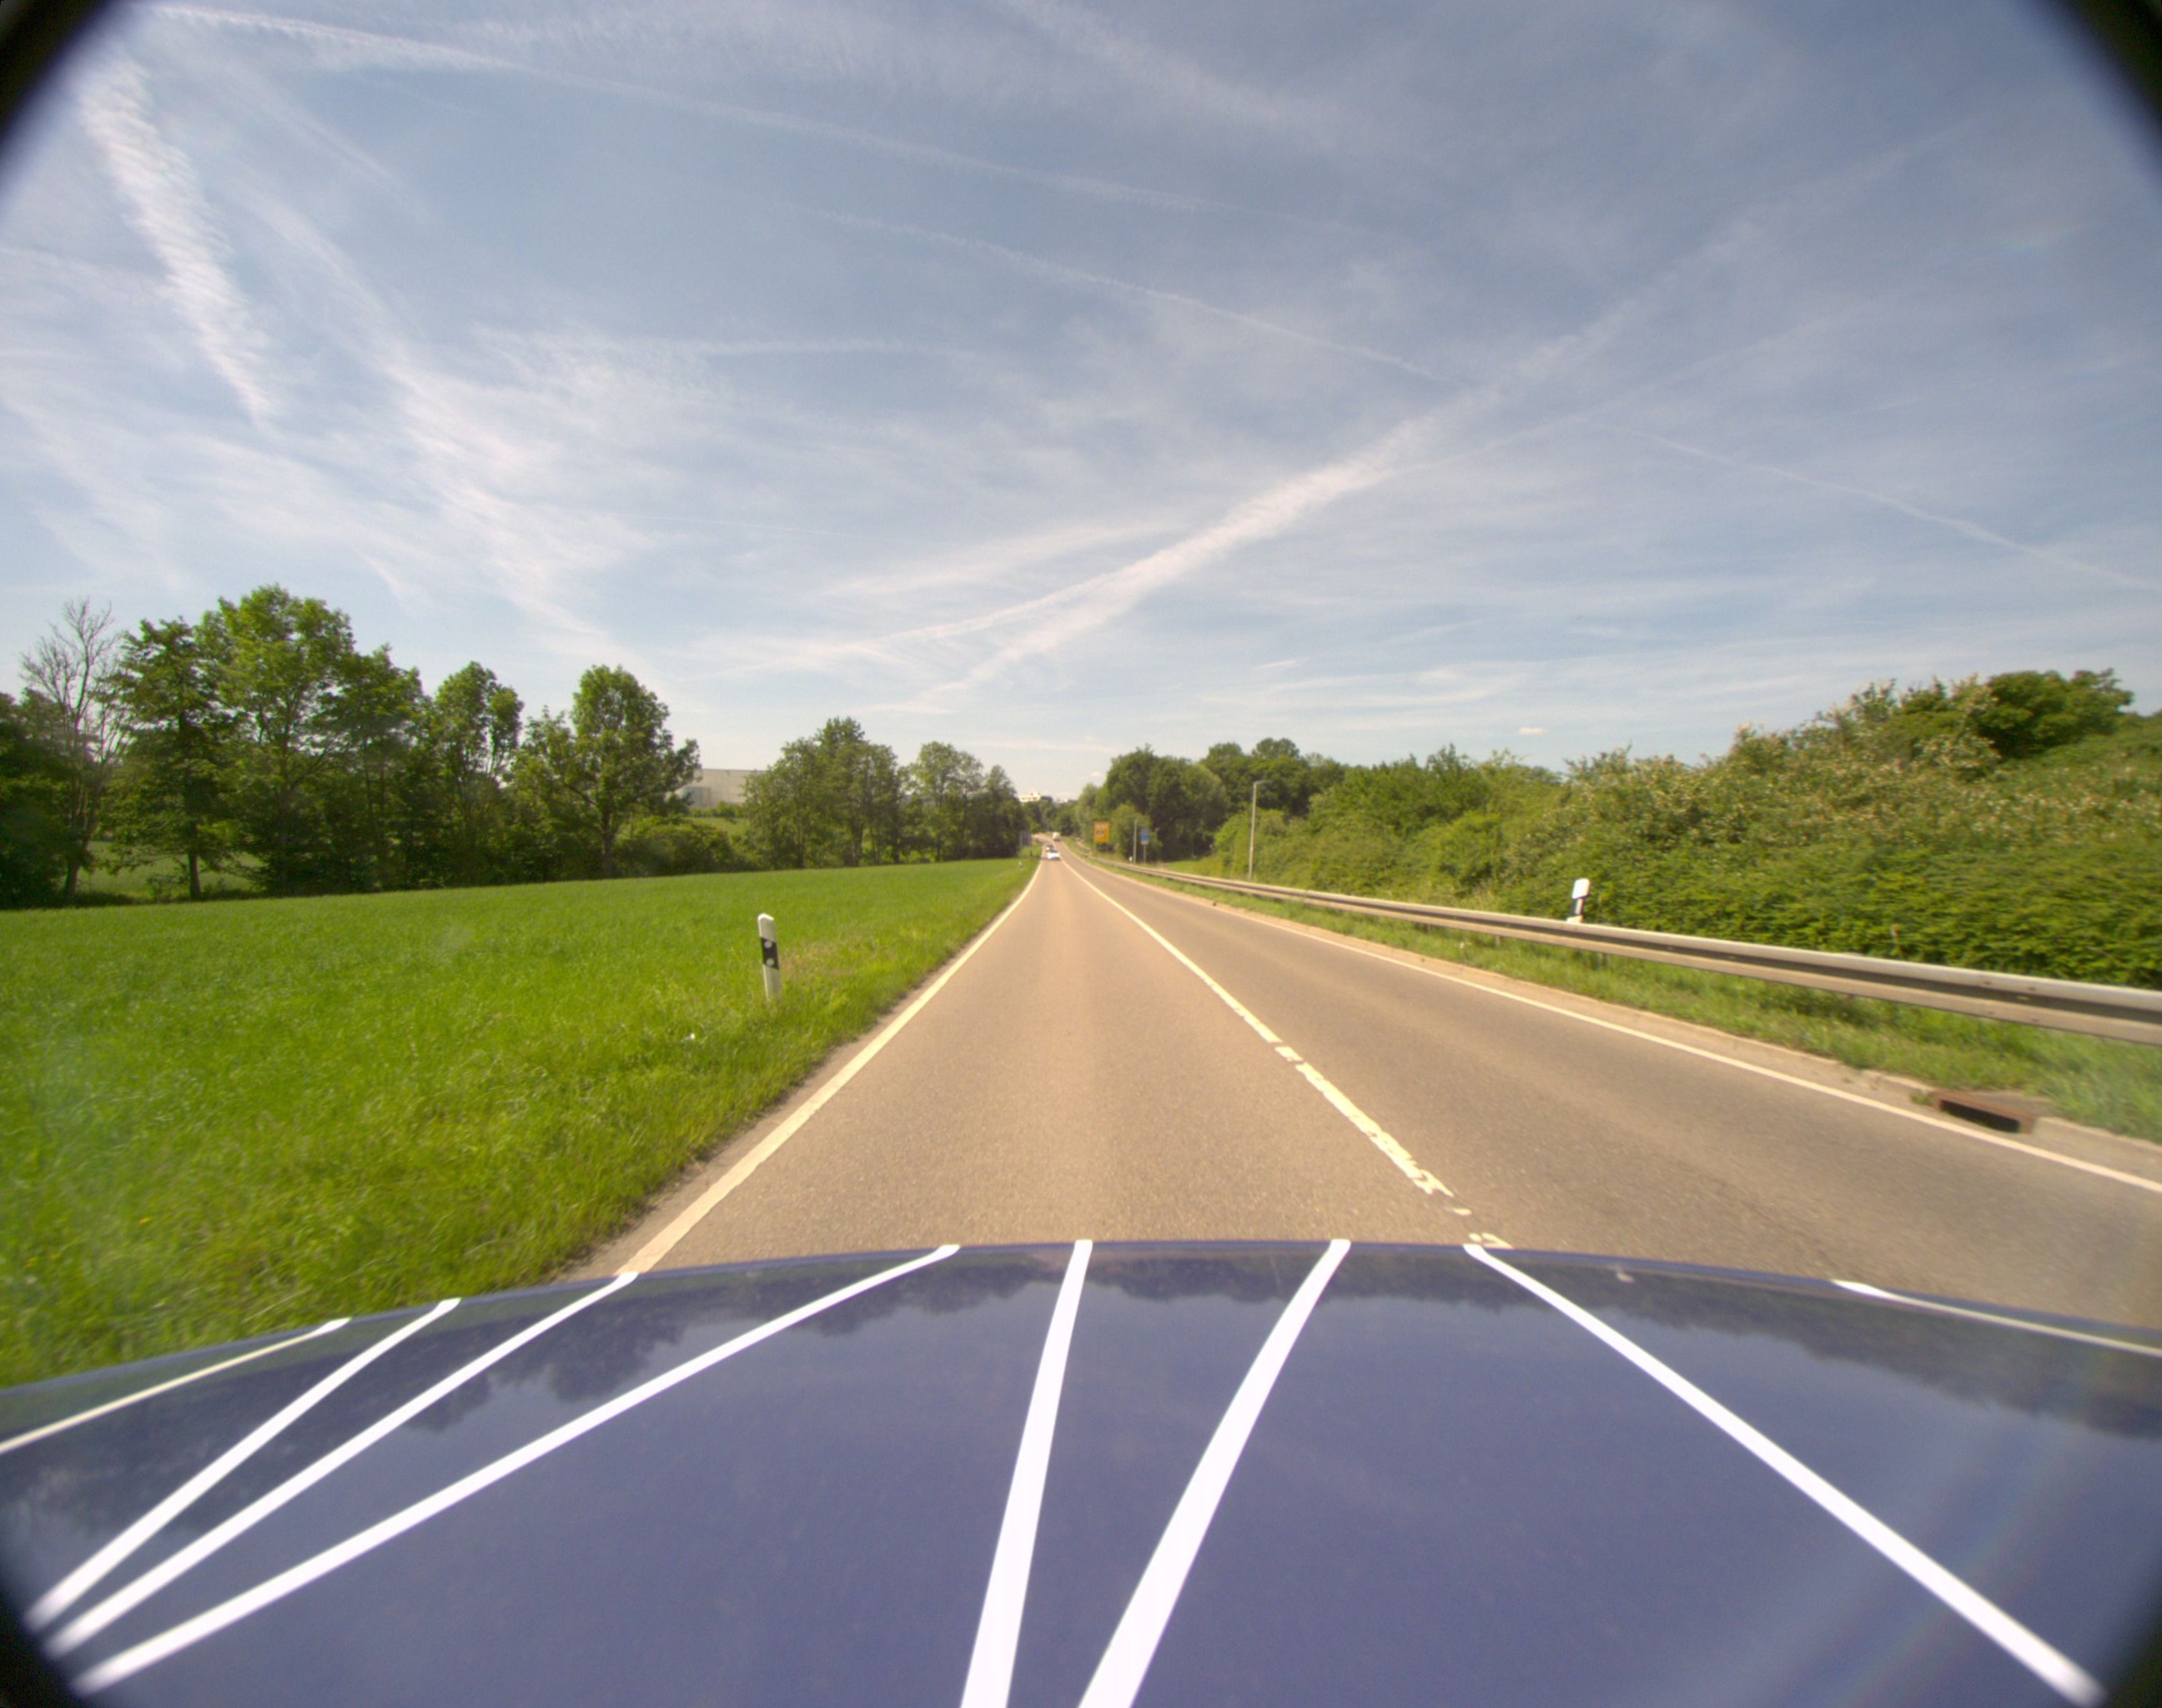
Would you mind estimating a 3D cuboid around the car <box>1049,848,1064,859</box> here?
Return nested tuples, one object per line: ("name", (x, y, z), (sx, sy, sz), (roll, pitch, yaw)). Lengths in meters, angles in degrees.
("car", (-3.625, -0.103, 112.620), (1.998, 1.576, 4.000), (-1, 0, 2))

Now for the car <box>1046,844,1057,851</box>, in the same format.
("car", (-6.500, -1.400, 167.898), (2.000, 1.576, 3.997), (-1, 0, -7))
